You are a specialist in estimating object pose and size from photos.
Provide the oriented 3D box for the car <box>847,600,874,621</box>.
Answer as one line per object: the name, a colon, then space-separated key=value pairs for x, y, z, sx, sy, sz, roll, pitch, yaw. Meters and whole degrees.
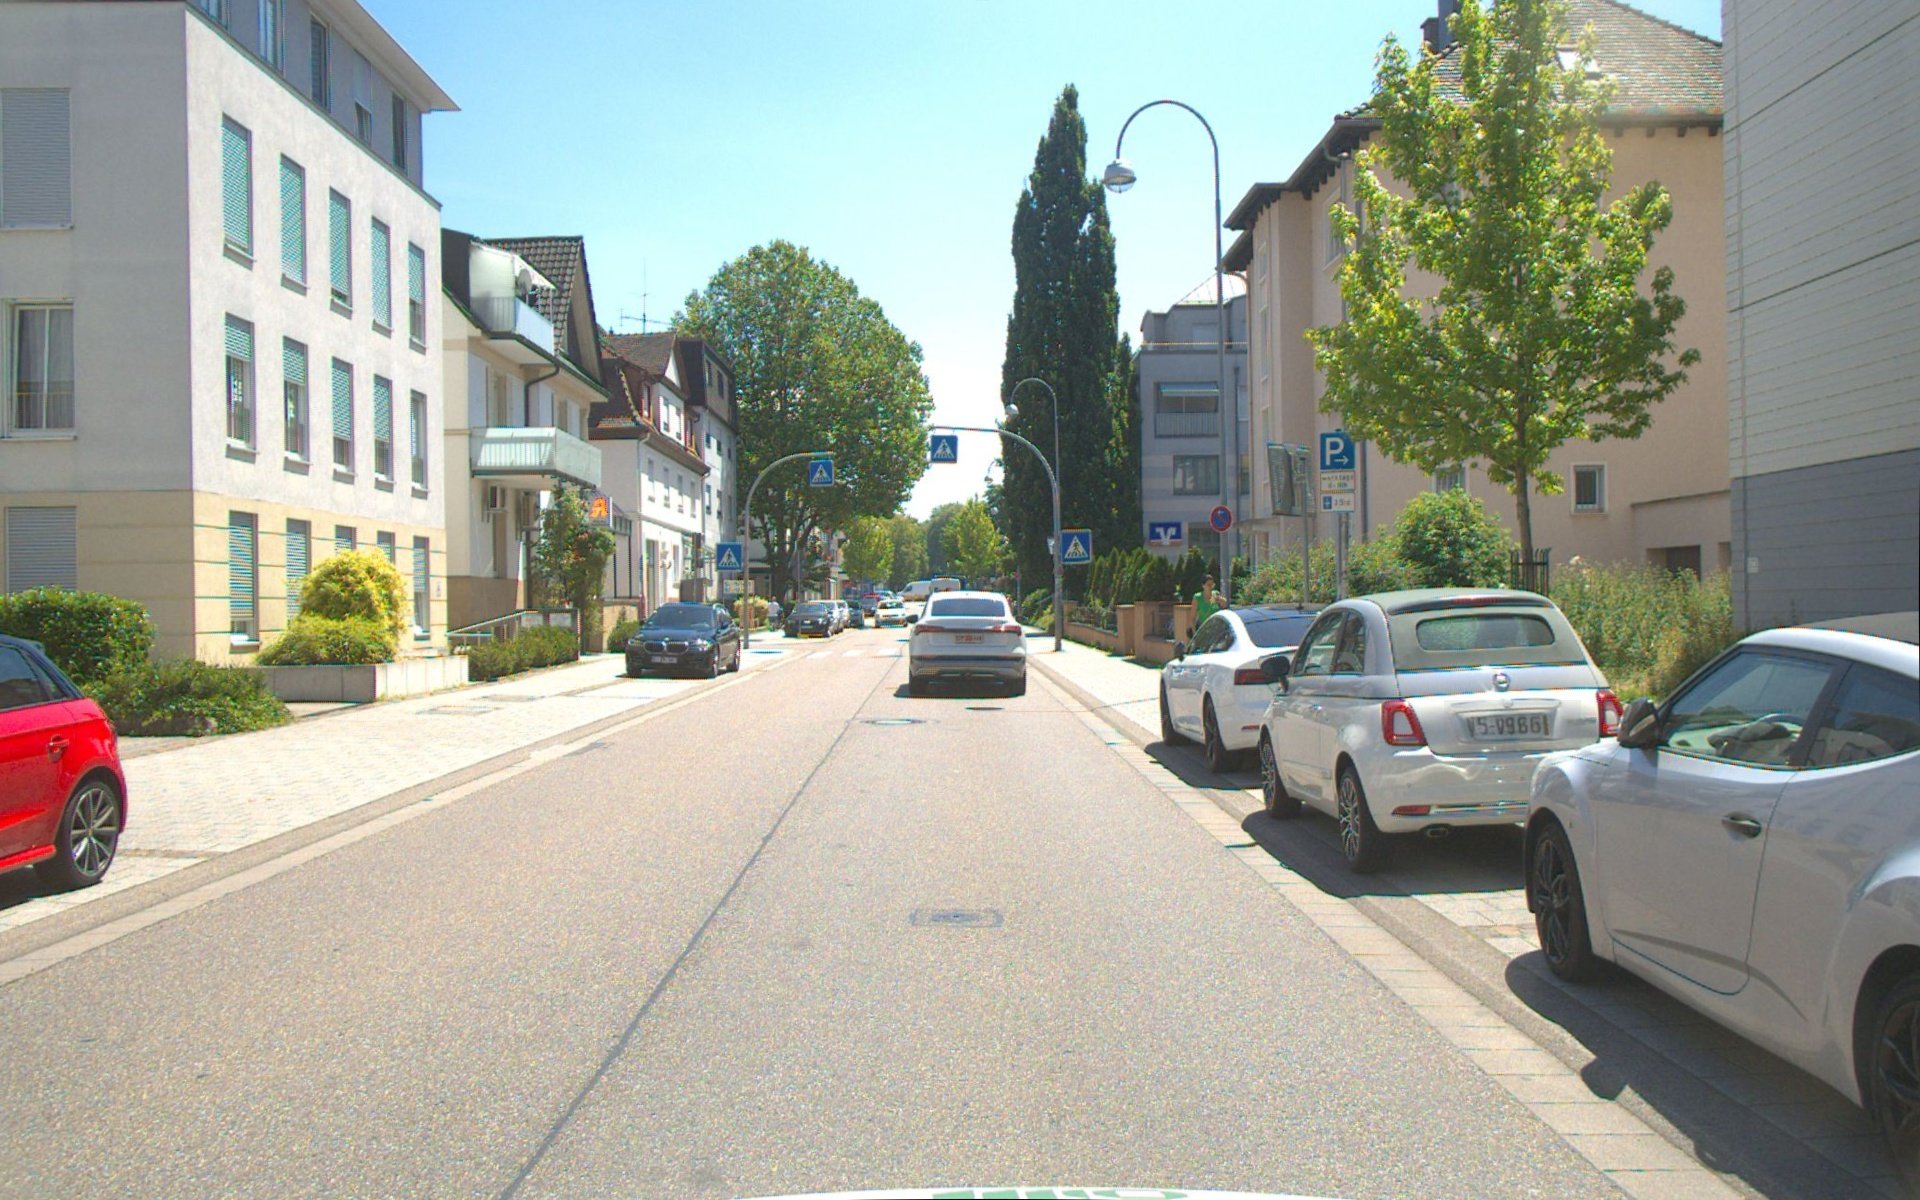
car: x=-7.637 y=0.799 z=127.297 sx=1.953 sy=1.546 sz=3.999 roll=-1 pitch=0 yaw=-2

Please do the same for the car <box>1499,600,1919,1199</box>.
car: x=3.177 y=0.700 z=5.023 sx=1.824 sy=1.397 sz=4.000 roll=-1 pitch=-1 yaw=1

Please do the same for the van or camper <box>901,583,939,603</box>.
van or camper: x=-5.428 y=-0.970 z=223.746 sx=5.089 sy=2.557 sz=2.267 roll=-1 pitch=0 yaw=-4

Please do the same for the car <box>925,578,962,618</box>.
car: x=-1.017 y=-0.108 z=97.531 sx=2.028 sy=2.235 sz=5.135 roll=-1 pitch=0 yaw=-2

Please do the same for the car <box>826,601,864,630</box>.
car: x=-6.405 y=0.841 z=92.321 sx=1.953 sy=1.546 sz=3.999 roll=-1 pitch=0 yaw=-2

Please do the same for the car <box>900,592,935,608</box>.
car: x=-4.966 y=0.004 z=193.353 sx=3.902 sy=1.680 sz=2.001 roll=-1 pitch=0 yaw=6

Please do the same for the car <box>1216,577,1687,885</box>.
car: x=2.874 y=0.683 z=10.707 sx=1.625 sy=1.514 sz=4.344 roll=-2 pitch=0 yaw=-1

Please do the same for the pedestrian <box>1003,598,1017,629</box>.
pedestrian: x=2.829 y=0.759 z=93.560 sx=0.680 sy=1.767 sz=0.667 roll=-1 pitch=-1 yaw=-5

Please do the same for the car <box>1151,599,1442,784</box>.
car: x=2.951 y=0.741 z=15.457 sx=1.691 sy=1.407 sz=4.400 roll=-2 pitch=0 yaw=-1

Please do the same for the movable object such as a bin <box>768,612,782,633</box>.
movable object such as a bin: x=-8.633 y=1.058 z=77.338 sx=0.575 sy=0.969 sz=0.566 roll=-1 pitch=0 yaw=-1

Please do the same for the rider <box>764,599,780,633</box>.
rider: x=-8.709 y=0.733 z=76.721 sx=0.648 sy=1.580 sz=0.661 roll=-1 pitch=0 yaw=-1

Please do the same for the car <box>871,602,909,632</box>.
car: x=-3.708 y=0.883 z=88.442 sx=1.939 sy=1.546 sz=3.999 roll=-1 pitch=0 yaw=-2

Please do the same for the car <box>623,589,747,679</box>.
car: x=-5.768 y=0.681 z=35.201 sx=1.886 sy=1.750 sz=4.471 roll=1 pitch=0 yaw=0

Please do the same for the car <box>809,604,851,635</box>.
car: x=-6.734 y=0.998 z=86.126 sx=1.953 sy=1.546 sz=3.999 roll=-1 pitch=0 yaw=-2

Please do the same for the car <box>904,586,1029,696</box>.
car: x=0.099 y=0.645 z=27.879 sx=1.896 sy=1.642 sz=4.471 roll=2 pitch=0 yaw=0

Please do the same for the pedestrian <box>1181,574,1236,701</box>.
pedestrian: x=3.552 y=0.531 z=23.674 sx=0.625 sy=1.789 sz=0.616 roll=-1 pitch=0 yaw=-5

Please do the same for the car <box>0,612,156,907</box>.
car: x=-5.604 y=0.791 z=7.820 sx=1.615 sy=1.444 sz=3.905 roll=2 pitch=0 yaw=1

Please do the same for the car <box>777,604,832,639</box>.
car: x=-6.426 y=0.883 z=68.656 sx=1.953 sy=1.373 sz=3.999 roll=-1 pitch=0 yaw=-2
